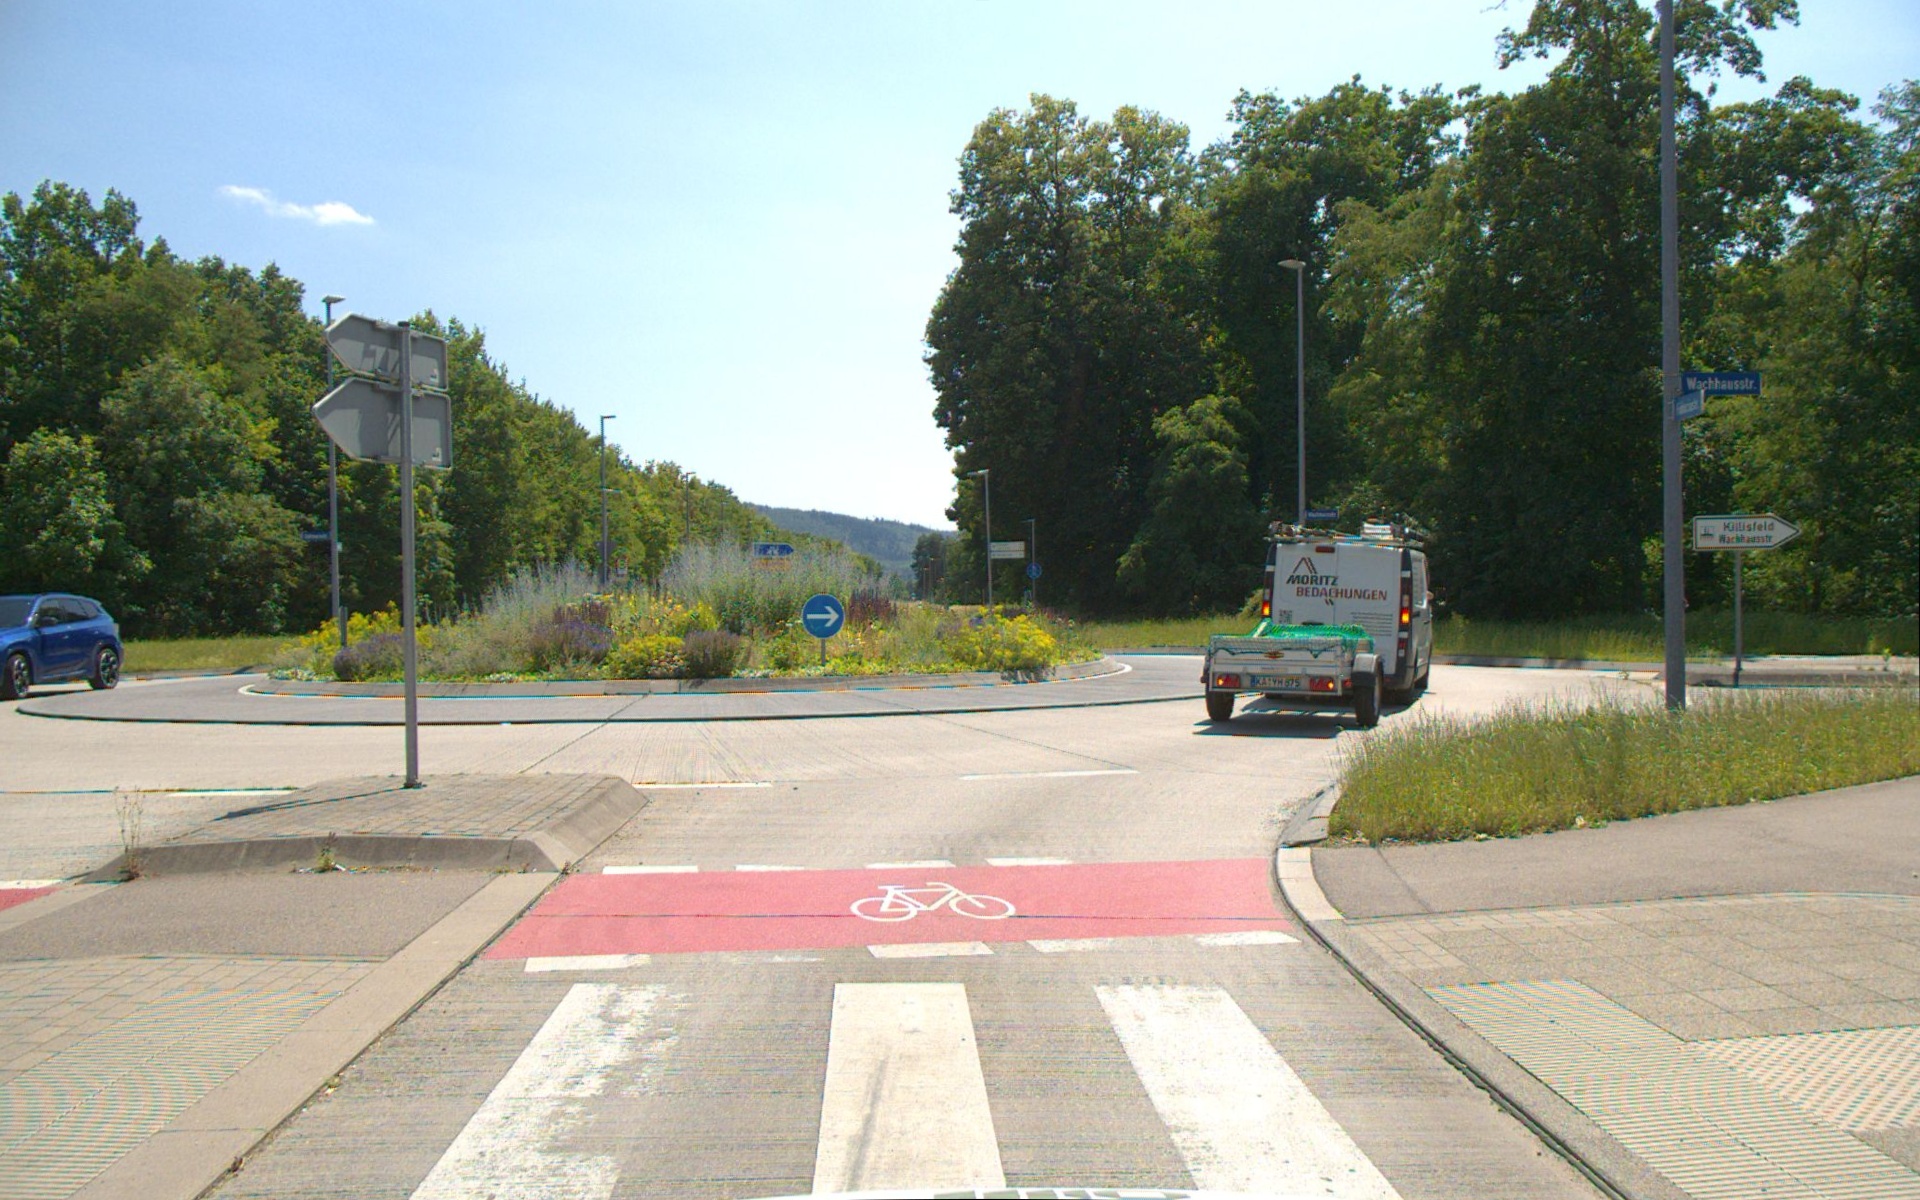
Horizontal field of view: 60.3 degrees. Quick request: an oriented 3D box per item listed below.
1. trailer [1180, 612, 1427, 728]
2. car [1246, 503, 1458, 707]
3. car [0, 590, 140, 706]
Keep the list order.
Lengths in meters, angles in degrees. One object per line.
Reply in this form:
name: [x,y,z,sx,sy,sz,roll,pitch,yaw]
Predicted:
trailer: [3.811,0.691,17.934,2.078,1.116,3.354,0,-1,22]
car: [5.300,0.078,21.837,2.121,2.357,4.982,0,-1,20]
car: [-15.213,0.727,26.502,1.953,1.623,4.323,-2,2,0]
